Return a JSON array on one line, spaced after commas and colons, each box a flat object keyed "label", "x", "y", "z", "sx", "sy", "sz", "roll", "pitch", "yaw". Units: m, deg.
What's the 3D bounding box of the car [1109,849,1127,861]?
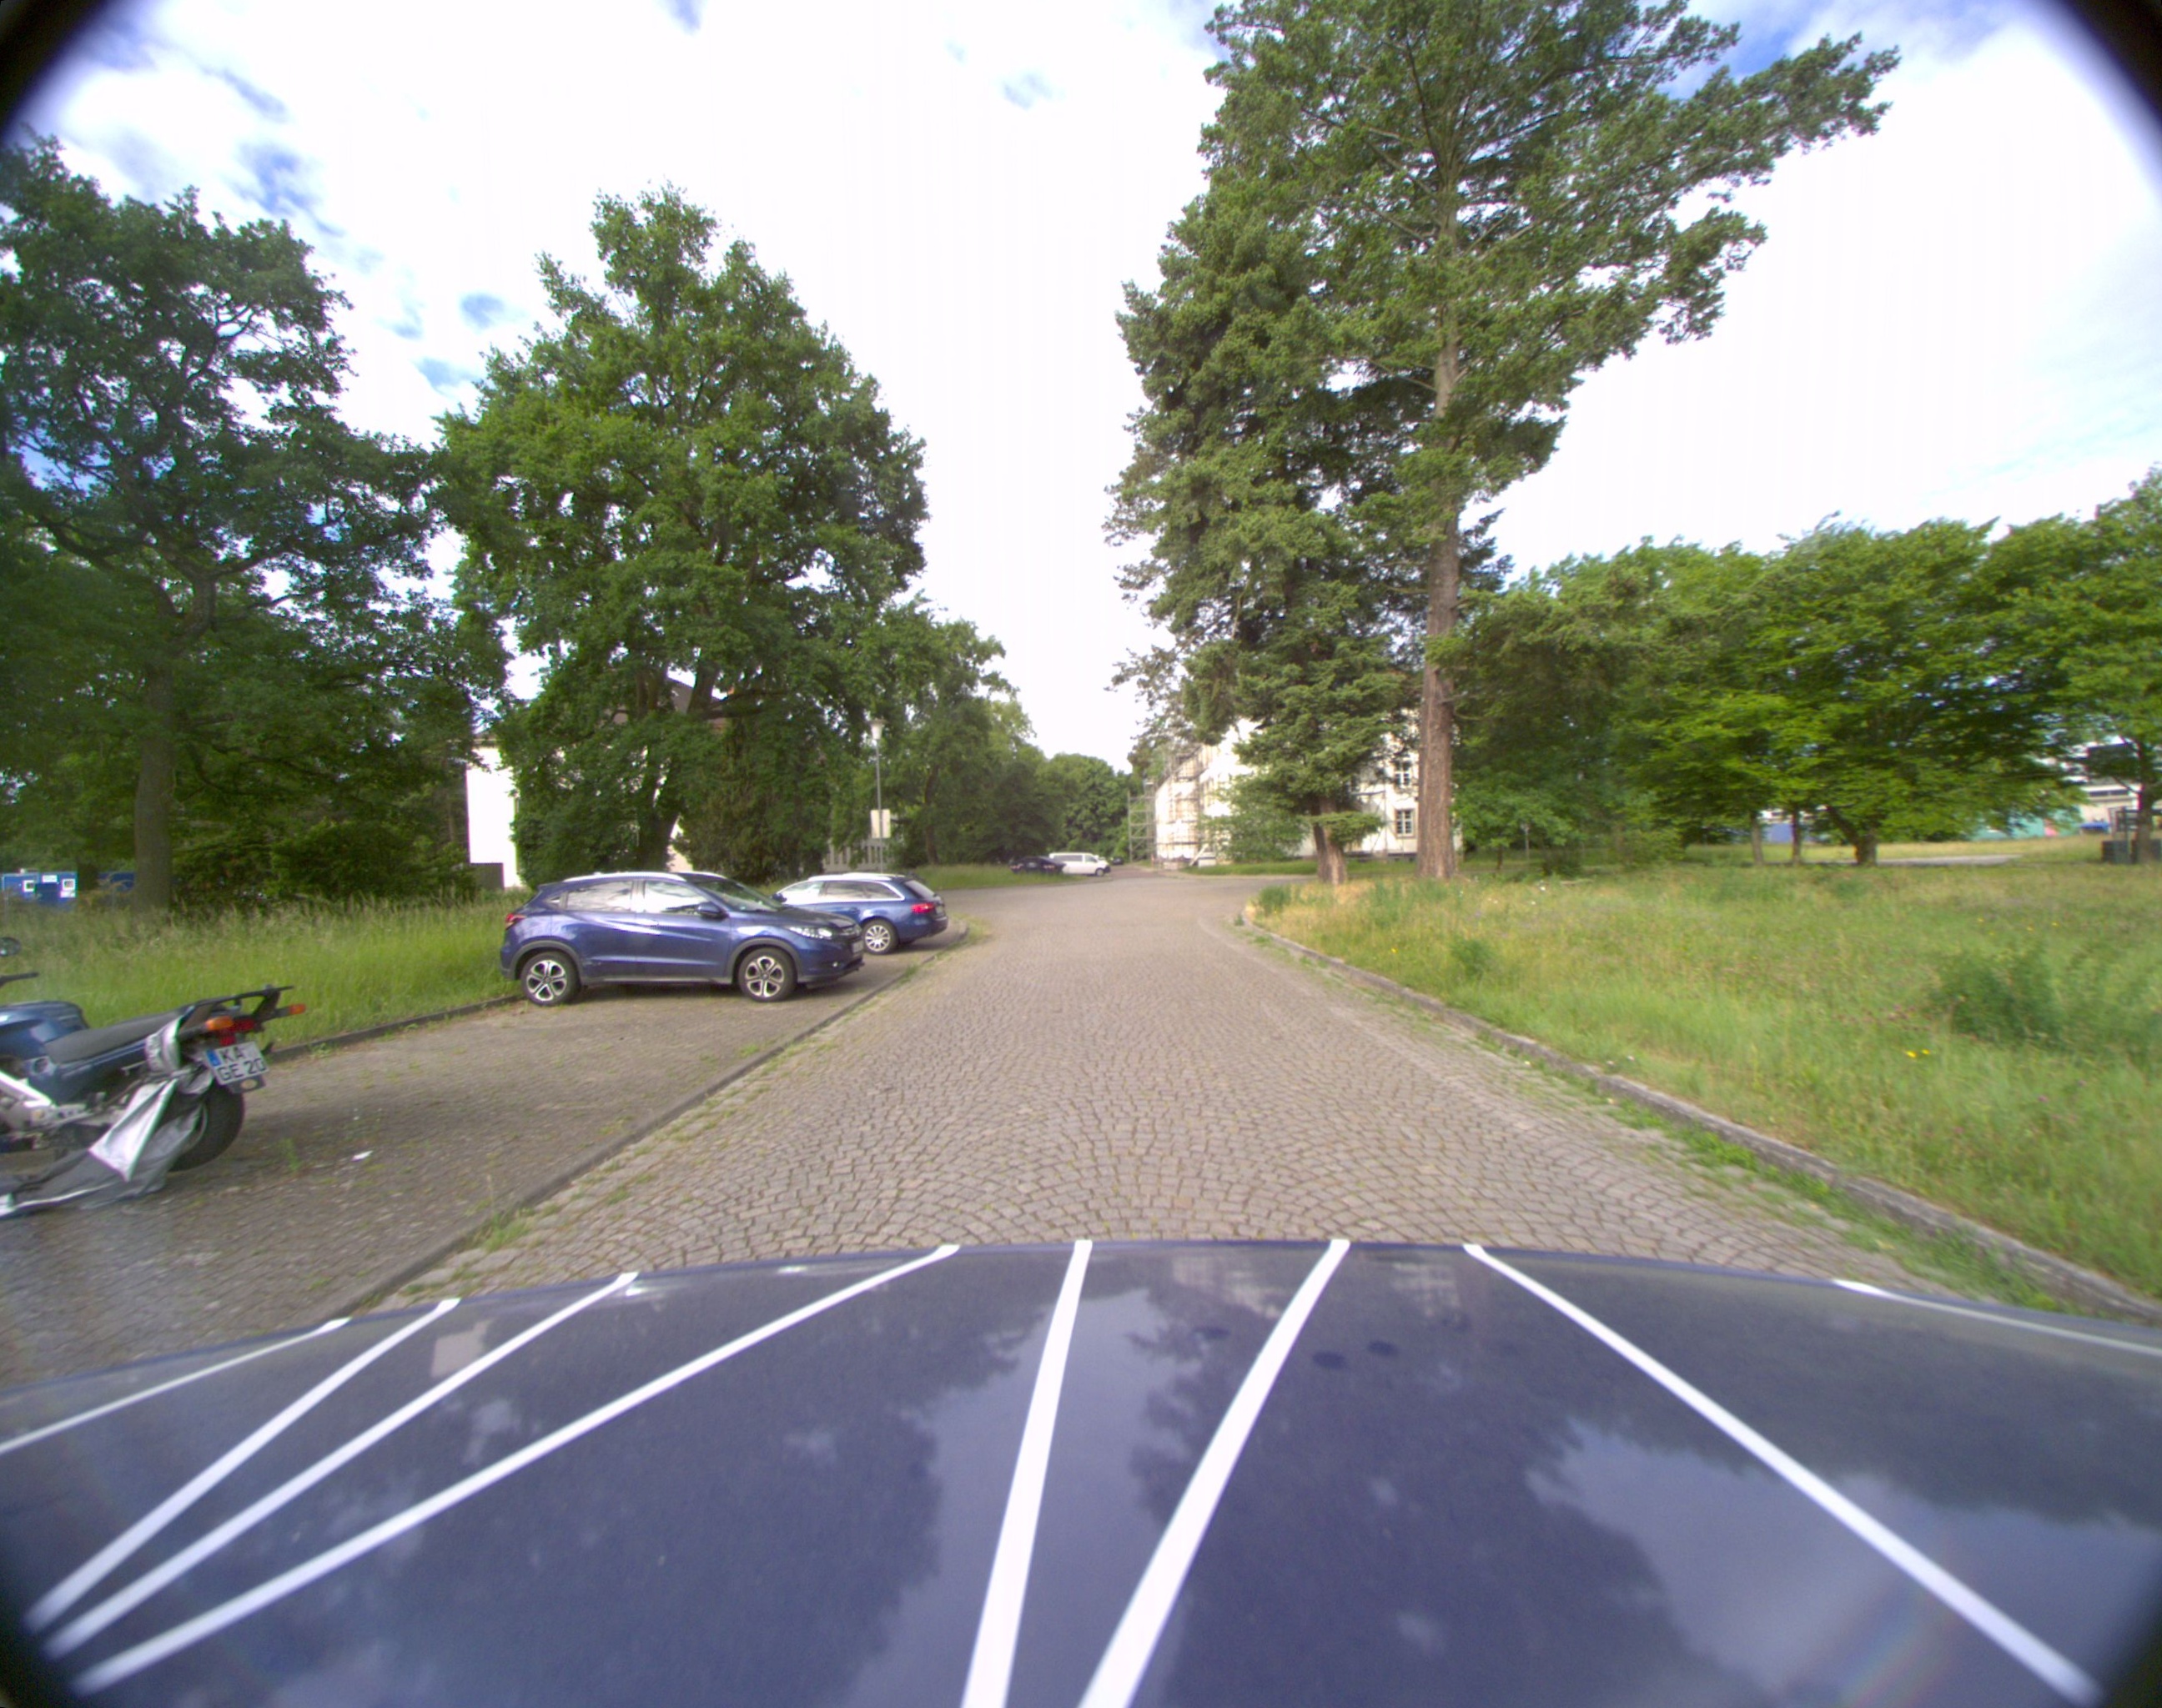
[{"label": "car", "x": 6.281, "y": 0.187, "z": 129.461, "sx": 2.028, "sy": 1.915, "sz": 3.997, "roll": -2, "pitch": 0, "yaw": -10}]

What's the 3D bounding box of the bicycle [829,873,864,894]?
[{"label": "bicycle", "x": -13.394, "y": 1.666, "z": 43.430, "sx": 1.815, "sy": 1.082, "sz": 0.478, "roll": -2, "pitch": 3, "yaw": -26}]

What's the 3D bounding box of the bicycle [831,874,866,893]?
[{"label": "bicycle", "x": -13.484, "y": 1.687, "z": 44.006, "sx": 1.859, "sy": 0.984, "sz": 0.455, "roll": -2, "pitch": 1, "yaw": -26}]

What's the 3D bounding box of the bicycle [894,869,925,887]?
[{"label": "bicycle", "x": -10.969, "y": 1.518, "z": 48.650, "sx": 1.810, "sy": 1.082, "sz": 0.552, "roll": -2, "pitch": 3, "yaw": -21}]

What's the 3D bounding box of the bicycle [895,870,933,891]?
[{"label": "bicycle", "x": -9.468, "y": 1.504, "z": 43.087, "sx": 2.019, "sy": 1.082, "sz": 0.478, "roll": -2, "pitch": 3, "yaw": -21}]

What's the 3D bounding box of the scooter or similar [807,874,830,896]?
[{"label": "scooter or similar", "x": -14.739, "y": 1.717, "z": 42.670, "sx": 1.063, "sy": 1.187, "sz": 0.385, "roll": -2, "pitch": 0, "yaw": 4}]

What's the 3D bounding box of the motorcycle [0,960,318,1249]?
[{"label": "motorcycle", "x": -5.452, "y": 1.264, "z": 3.913, "sx": 2.271, "sy": 1.267, "sz": 0.605, "roll": -2, "pitch": 1, "yaw": -4}]

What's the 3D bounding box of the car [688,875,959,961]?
[{"label": "car", "x": -4.788, "y": 1.182, "z": 14.543, "sx": 4.514, "sy": 1.456, "sz": 1.896, "roll": -1, "pitch": 0, "yaw": 4}]

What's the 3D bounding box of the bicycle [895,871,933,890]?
[{"label": "bicycle", "x": -9.568, "y": 1.510, "z": 43.568, "sx": 2.019, "sy": 1.004, "sz": 0.478, "roll": -2, "pitch": 3, "yaw": -21}]

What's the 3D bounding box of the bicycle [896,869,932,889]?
[{"label": "bicycle", "x": -9.978, "y": 1.465, "z": 45.282, "sx": 2.019, "sy": 1.082, "sz": 0.478, "roll": -2, "pitch": 3, "yaw": -21}]

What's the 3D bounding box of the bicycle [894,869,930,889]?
[{"label": "bicycle", "x": -9.923, "y": 1.482, "z": 44.644, "sx": 2.019, "sy": 1.082, "sz": 0.478, "roll": -2, "pitch": 3, "yaw": -21}]

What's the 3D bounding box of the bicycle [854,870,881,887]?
[{"label": "bicycle", "x": -13.505, "y": 1.545, "z": 48.073, "sx": 1.568, "sy": 1.028, "sz": 0.475, "roll": -2, "pitch": 1, "yaw": -23}]

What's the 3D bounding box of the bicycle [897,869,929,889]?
[{"label": "bicycle", "x": -10.187, "y": 1.508, "z": 46.075, "sx": 1.791, "sy": 1.082, "sz": 0.478, "roll": -2, "pitch": 3, "yaw": -21}]

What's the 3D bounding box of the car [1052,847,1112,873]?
[{"label": "car", "x": 0.062, "y": 0.475, "z": 63.204, "sx": 4.916, "sy": 1.983, "sz": 2.000, "roll": -2, "pitch": 0, "yaw": -1}]

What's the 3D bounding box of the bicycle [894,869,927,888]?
[{"label": "bicycle", "x": -10.514, "y": 1.514, "z": 46.801, "sx": 1.868, "sy": 1.082, "sz": 0.519, "roll": -2, "pitch": 3, "yaw": -21}]

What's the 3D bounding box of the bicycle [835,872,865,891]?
[{"label": "bicycle", "x": -13.886, "y": 1.661, "z": 45.689, "sx": 1.568, "sy": 1.082, "sz": 0.561, "roll": -2, "pitch": 1, "yaw": -30}]

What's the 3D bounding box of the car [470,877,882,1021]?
[{"label": "car", "x": -4.972, "y": 1.136, "z": 9.809, "sx": 4.273, "sy": 1.564, "sz": 1.895, "roll": -1, "pitch": 0, "yaw": 1}]
